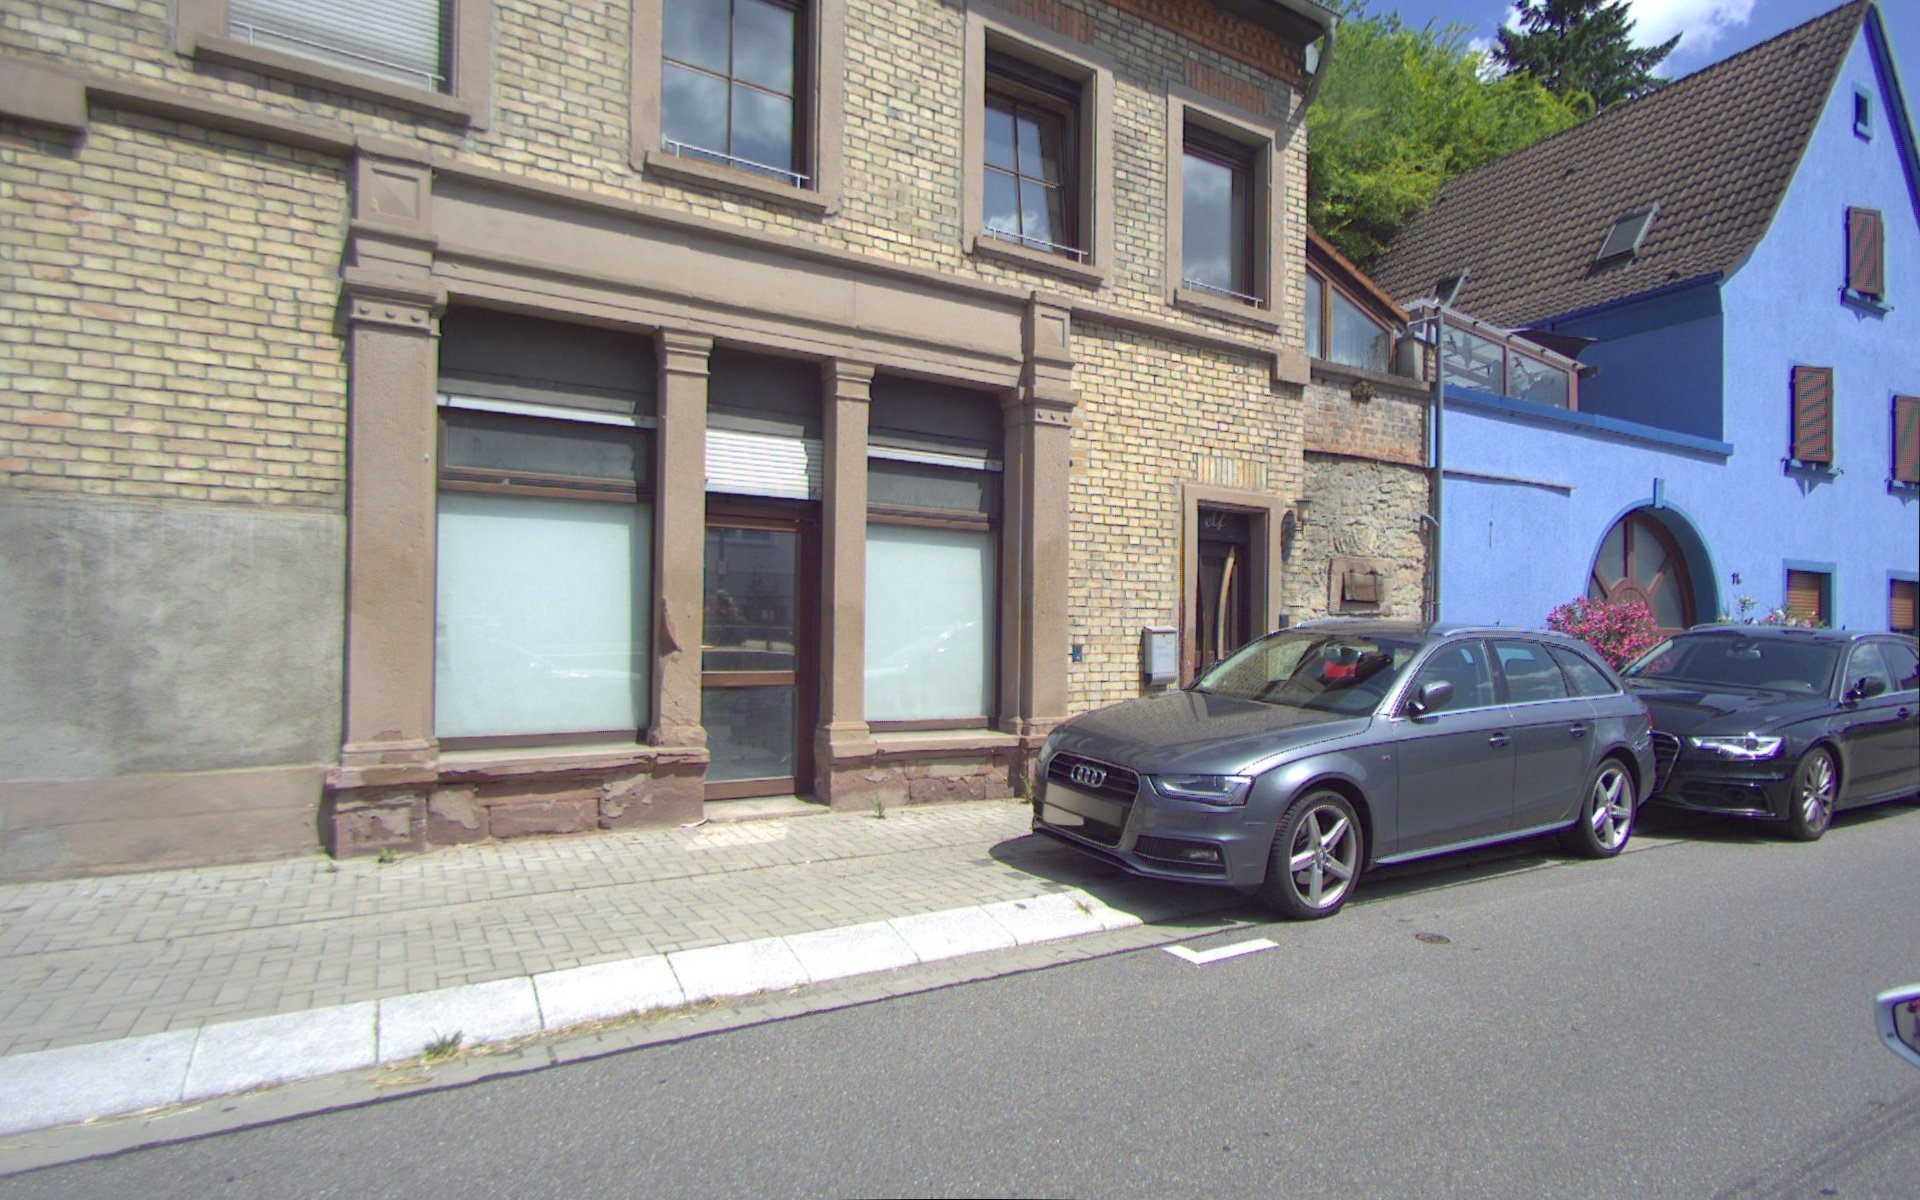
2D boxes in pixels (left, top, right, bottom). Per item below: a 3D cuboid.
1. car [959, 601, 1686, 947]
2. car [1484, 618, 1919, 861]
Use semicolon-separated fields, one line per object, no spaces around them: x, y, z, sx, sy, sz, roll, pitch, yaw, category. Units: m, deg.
2.417;0.844;6.337;4.495;1.485;1.946;3;-2;-32;car
6.724;0.947;8.436;4.611;1.484;1.876;1;2;-29;car
